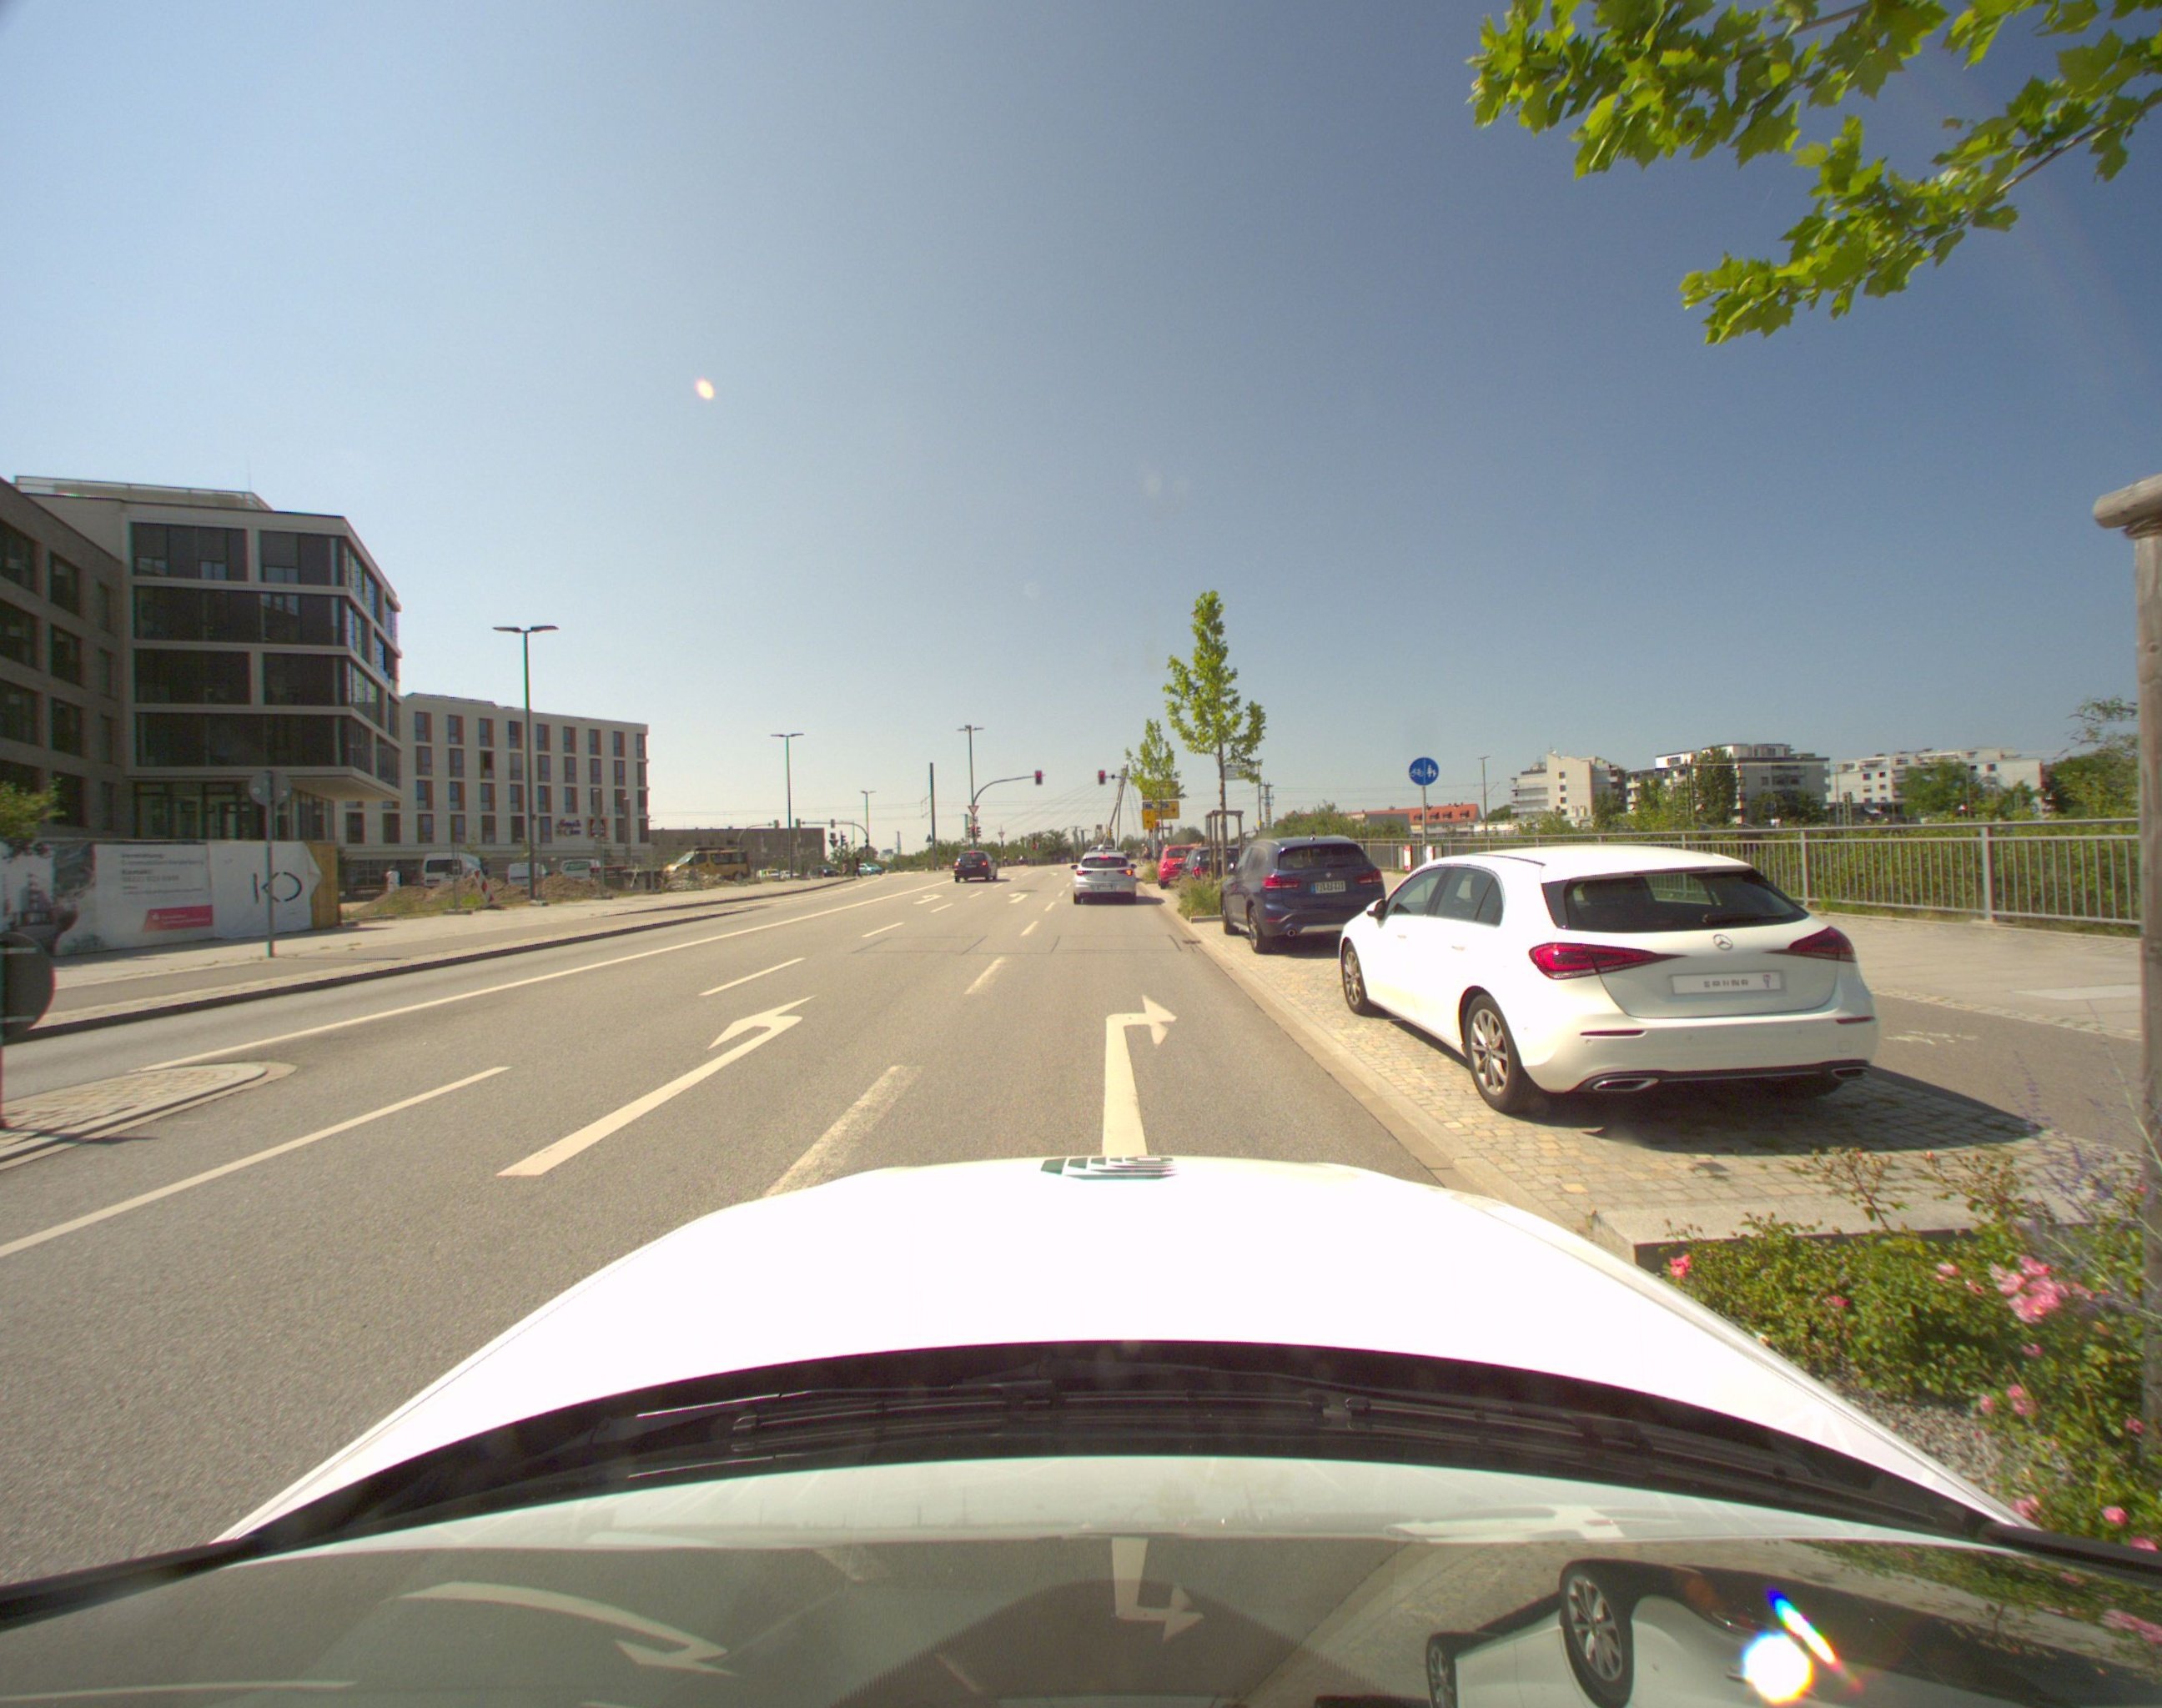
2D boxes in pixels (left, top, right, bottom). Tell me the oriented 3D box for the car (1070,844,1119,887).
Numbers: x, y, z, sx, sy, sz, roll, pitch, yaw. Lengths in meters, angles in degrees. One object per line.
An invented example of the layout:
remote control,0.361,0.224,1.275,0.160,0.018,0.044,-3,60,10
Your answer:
car,0.576,0.420,32.826,1.771,1.568,4.002,-2,0,2

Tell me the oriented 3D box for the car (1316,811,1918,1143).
car,3.140,0.594,5.966,1.690,1.475,4.207,-4,0,2

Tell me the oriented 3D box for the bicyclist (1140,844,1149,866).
bicyclist,4.622,0.064,59.521,0.591,1.644,0.312,-1,-2,-4

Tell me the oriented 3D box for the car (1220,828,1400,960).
car,3.303,0.514,12.477,1.815,1.616,3.614,-4,0,3

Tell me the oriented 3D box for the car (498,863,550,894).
car,-32.894,1.440,48.182,2.038,1.672,4.558,-1,0,-28

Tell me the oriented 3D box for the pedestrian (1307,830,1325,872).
pedestrian,8.994,-0.118,31.150,0.531,1.575,0.524,-1,-2,1

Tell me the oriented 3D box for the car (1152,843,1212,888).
car,3.691,0.407,30.408,1.771,1.503,4.001,-3,0,2

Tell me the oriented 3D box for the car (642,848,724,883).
car,-24.302,0.685,49.831,1.974,2.013,4.025,-2,0,40

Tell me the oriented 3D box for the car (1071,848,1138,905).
car,0.698,0.595,24.000,1.771,1.442,4.002,-2,0,2

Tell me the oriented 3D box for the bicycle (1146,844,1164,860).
bicycle,5.370,-0.141,58.877,1.237,1.197,0.481,-1,-2,-5

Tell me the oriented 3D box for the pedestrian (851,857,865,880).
pedestrian,-16.046,1.017,58.615,0.842,1.646,0.827,-1,-1,-4

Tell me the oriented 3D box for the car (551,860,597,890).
car,-30.540,1.267,49.192,2.038,1.672,4.558,-1,0,-28

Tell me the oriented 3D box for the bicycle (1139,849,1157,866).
bicycle,4.923,0.278,59.582,1.237,1.197,0.481,-1,-2,-5

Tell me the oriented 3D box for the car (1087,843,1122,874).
car,1.315,0.219,44.664,1.771,1.568,4.002,-2,0,2

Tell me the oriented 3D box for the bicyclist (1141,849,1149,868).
bicyclist,5.508,0.367,69.768,0.591,1.644,0.312,-1,-2,-4

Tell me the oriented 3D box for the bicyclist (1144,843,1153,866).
bicyclist,4.880,0.038,58.788,0.591,1.644,0.312,-1,-2,-4

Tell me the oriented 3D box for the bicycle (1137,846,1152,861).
bicycle,5.447,-0.049,69.806,1.237,1.197,0.481,-1,-2,-5

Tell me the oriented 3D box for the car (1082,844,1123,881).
car,1.037,0.368,38.242,1.771,1.568,4.002,-2,0,2

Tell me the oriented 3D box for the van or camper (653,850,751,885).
van or camper,-21.808,0.790,47.036,1.975,1.897,4.745,-3,-3,44

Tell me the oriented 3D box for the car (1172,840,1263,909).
car,3.598,0.511,22.094,1.772,1.503,4.001,-6,0,2

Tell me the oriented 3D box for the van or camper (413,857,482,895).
van or camper,-35.654,1.238,45.981,2.253,2.014,4.558,2,-2,-28

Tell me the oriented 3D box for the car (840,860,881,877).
car,-24.890,1.653,91.809,3.958,1.772,2.008,-1,-2,14

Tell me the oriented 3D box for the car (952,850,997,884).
car,-4.987,0.572,38.665,1.614,1.416,3.726,-3,1,-1
